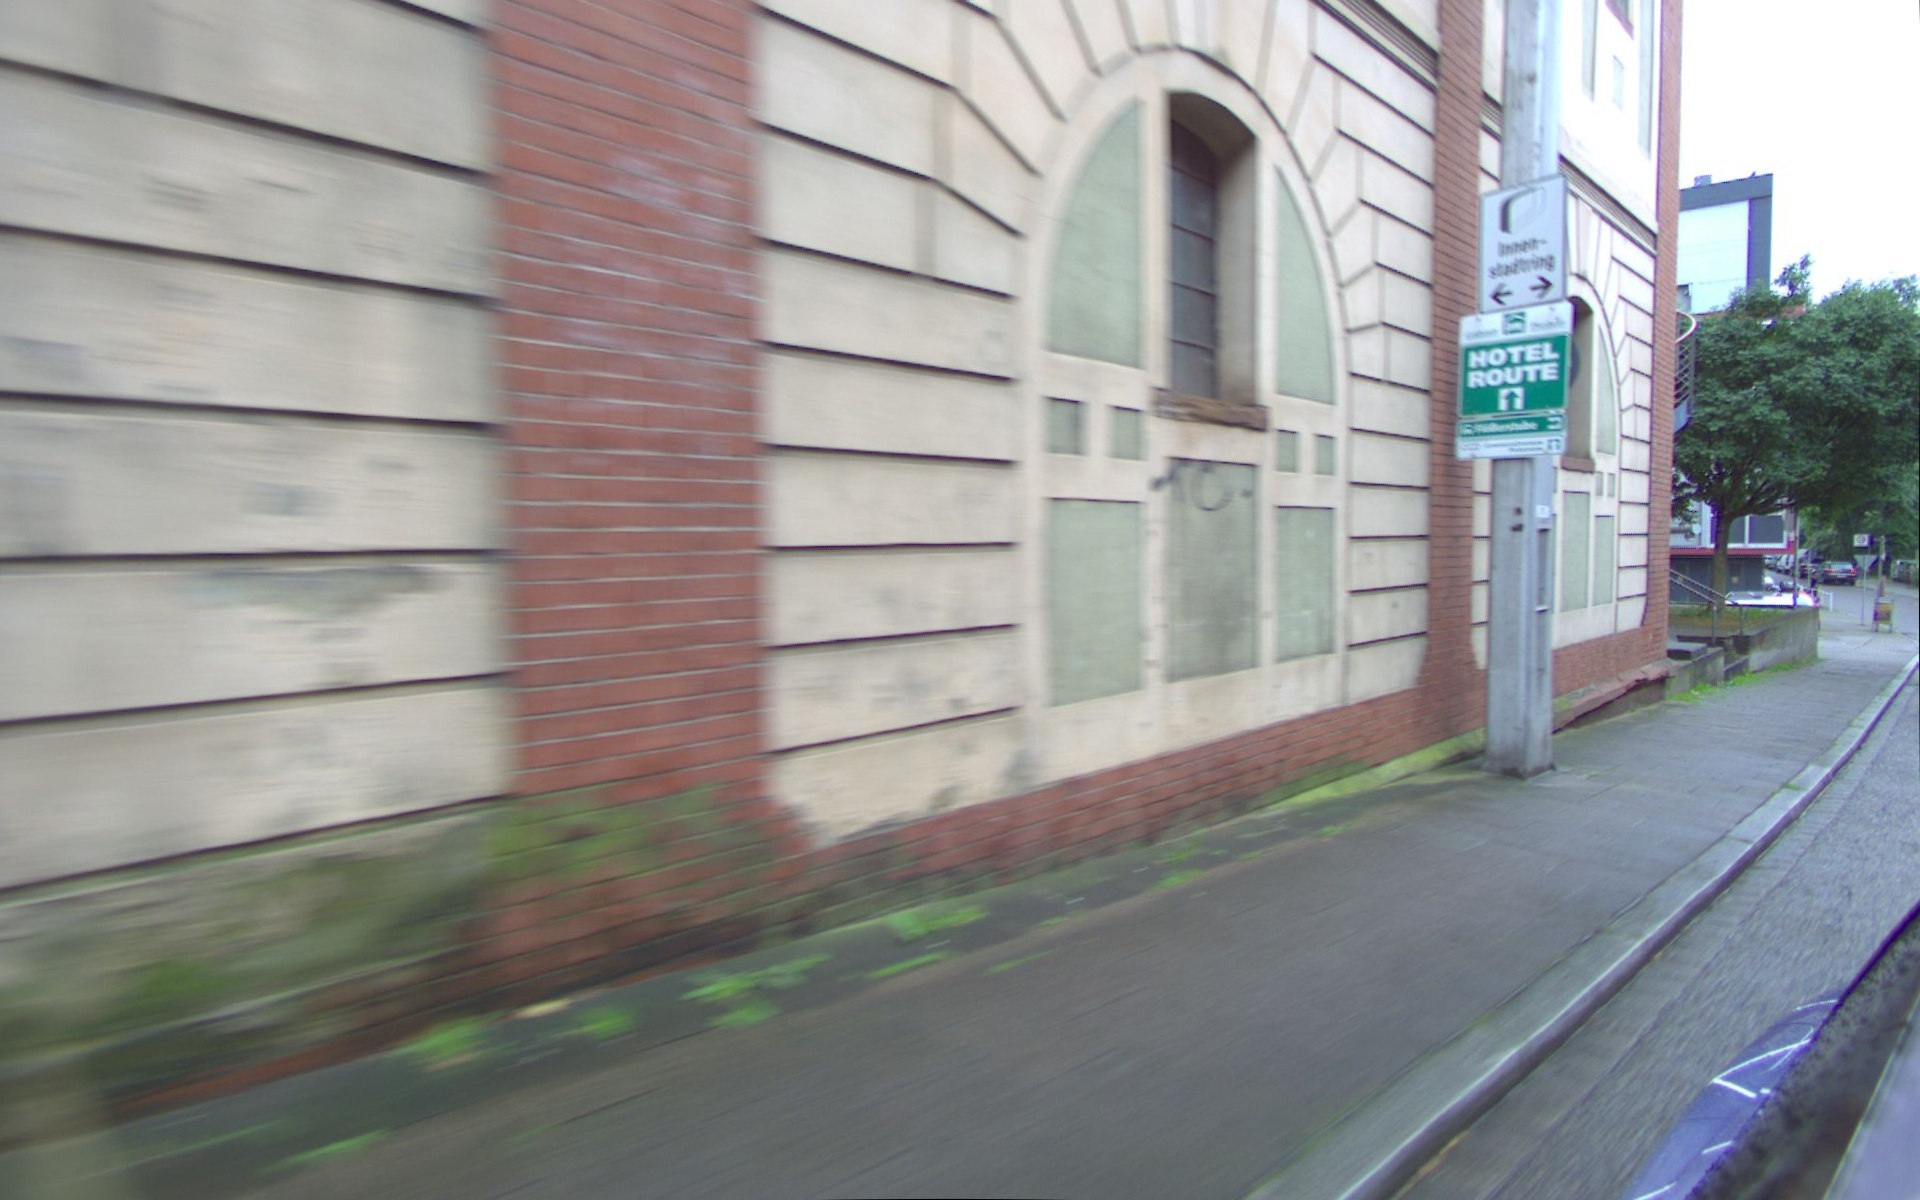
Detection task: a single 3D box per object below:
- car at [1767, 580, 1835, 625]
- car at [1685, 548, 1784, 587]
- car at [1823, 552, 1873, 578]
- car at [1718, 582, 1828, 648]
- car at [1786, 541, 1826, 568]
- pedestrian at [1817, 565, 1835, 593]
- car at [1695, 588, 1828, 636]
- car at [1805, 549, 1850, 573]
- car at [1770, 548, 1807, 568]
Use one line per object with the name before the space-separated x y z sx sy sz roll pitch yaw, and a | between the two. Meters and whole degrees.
car | 37.198 0.061 44.840 1.921 1.732 4.436 3 4 35
car | 49.249 -2.112 64.403 4.871 2.236 1.858 4 7 40
car | 62.956 -2.495 71.810 1.894 1.670 3.959 2 5 31
car | 22.684 0.409 28.175 1.854 1.637 4.835 3 1 45
car | 69.837 -3.793 83.583 1.894 2.099 3.959 2 5 31
pedestrian | 50.481 -1.212 59.007 0.699 1.585 0.615 1 5 34
car | 32.455 0.445 41.128 3.965 1.551 1.854 5 5 33
car | 66.294 -3.036 77.418 1.894 1.670 3.959 2 5 31
car | 73.104 -3.724 89.370 1.894 1.670 3.959 2 5 31
